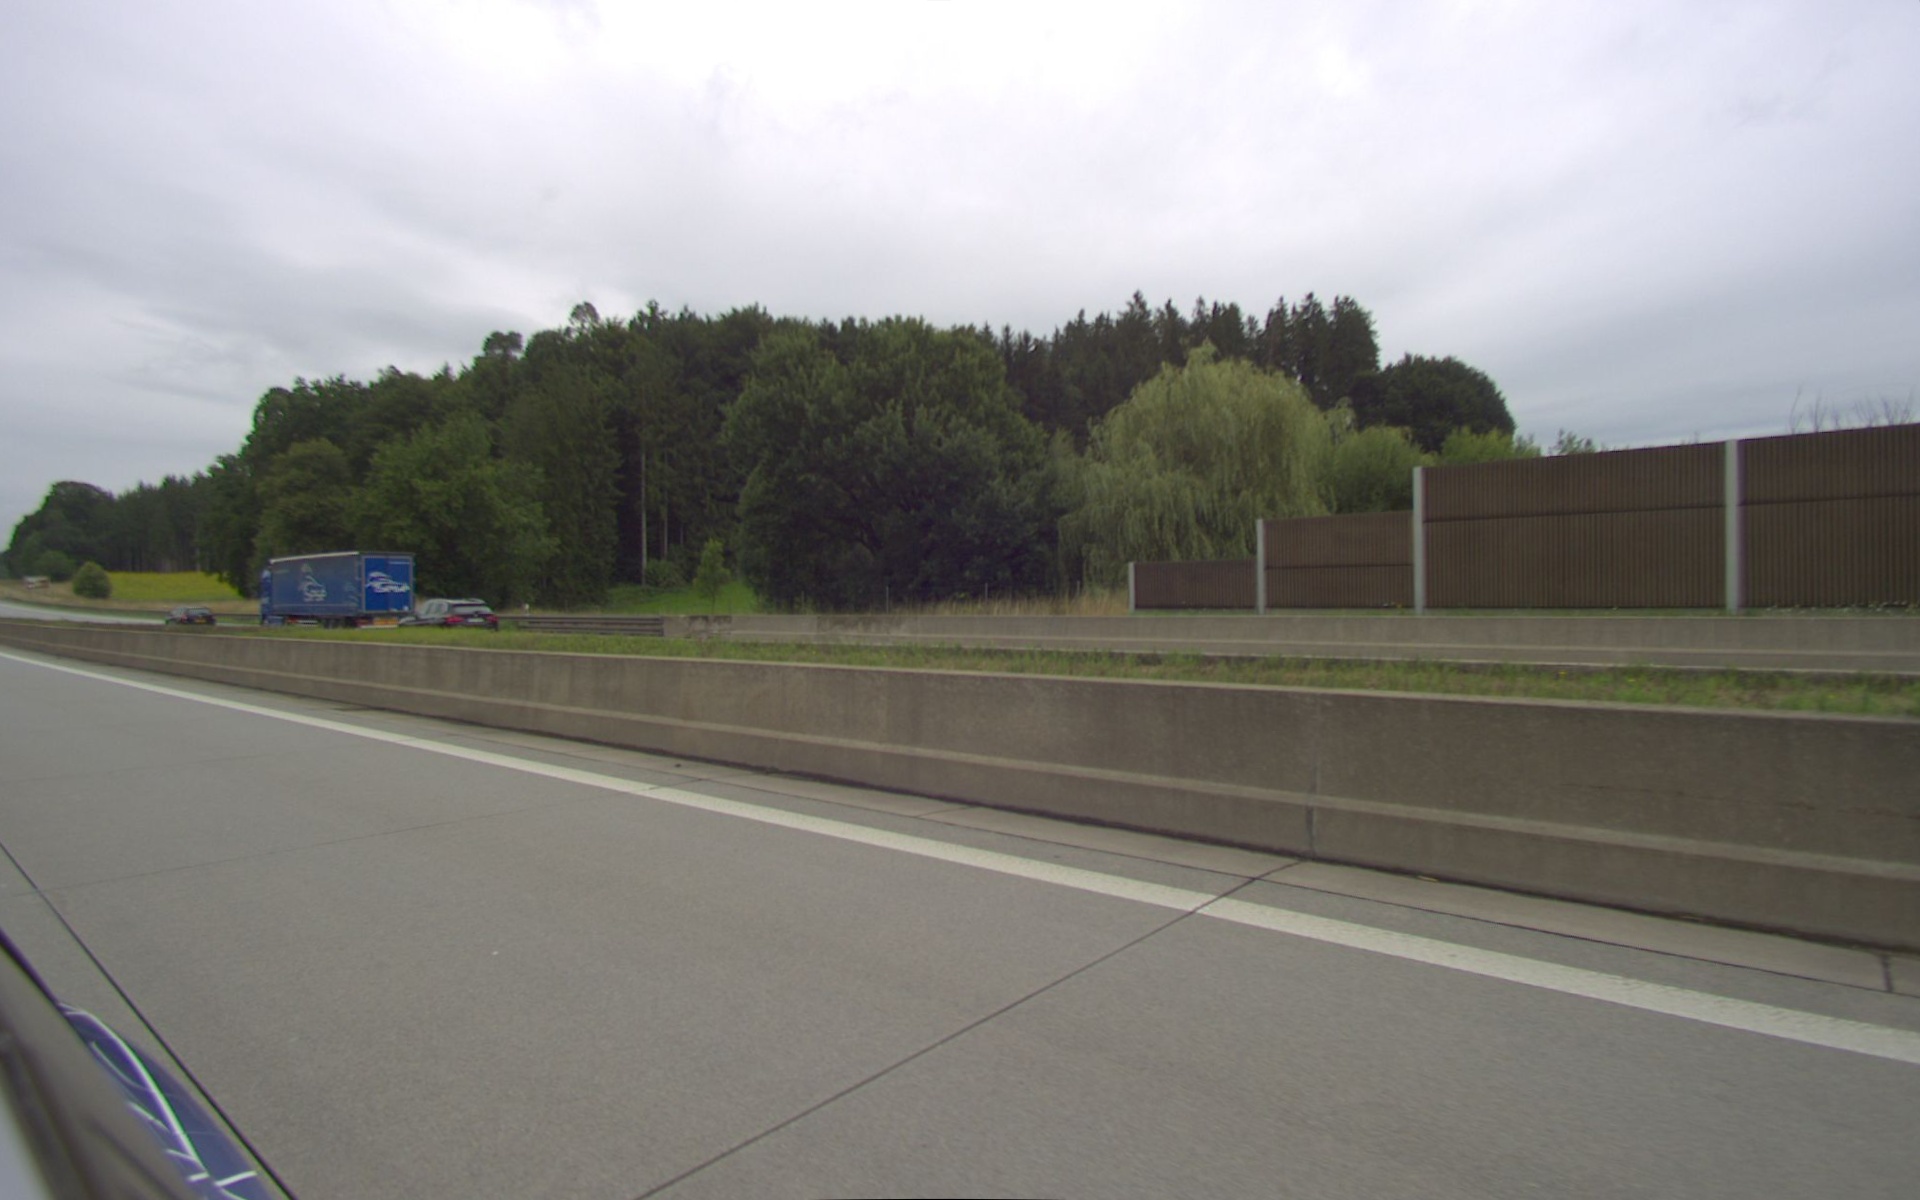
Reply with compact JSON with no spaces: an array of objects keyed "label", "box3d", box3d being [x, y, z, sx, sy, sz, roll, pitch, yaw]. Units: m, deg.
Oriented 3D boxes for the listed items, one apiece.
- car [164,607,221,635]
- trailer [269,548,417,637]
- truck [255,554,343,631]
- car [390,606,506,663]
[{"label":"car","box3d":[-43.996,1.198,57.968,4.514,1.512,1.620,-2,0,40]},{"label":"trailer","box3d":[-33.061,-0.417,53.822,13.787,4.240,2.682,0,1,41]},{"label":"truck","box3d":[-38.142,-0.403,58.293,6.208,4.220,2.663,0,1,41]},{"label":"car","box3d":[-17.510,1.124,34.515,4.728,1.780,1.798,0,1,40]}]
